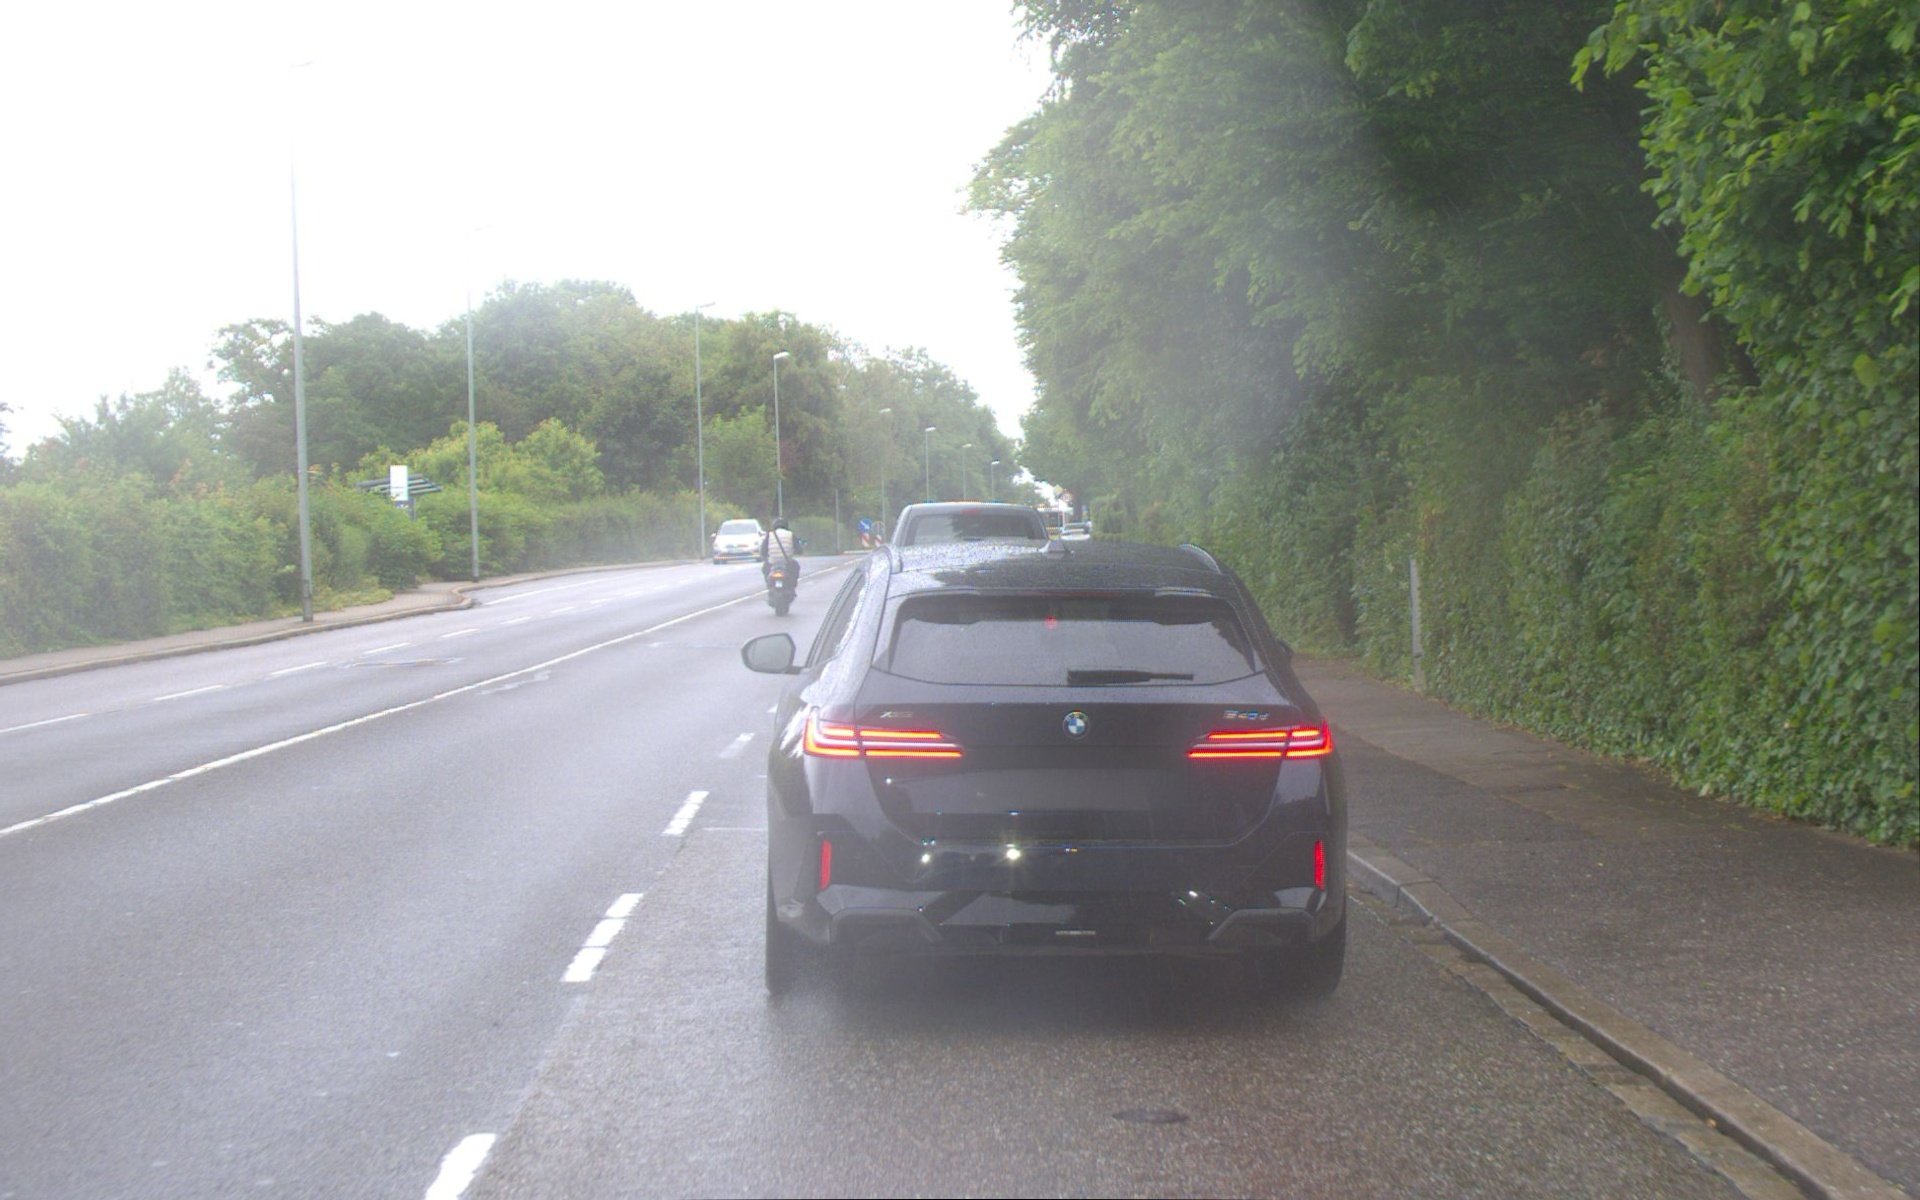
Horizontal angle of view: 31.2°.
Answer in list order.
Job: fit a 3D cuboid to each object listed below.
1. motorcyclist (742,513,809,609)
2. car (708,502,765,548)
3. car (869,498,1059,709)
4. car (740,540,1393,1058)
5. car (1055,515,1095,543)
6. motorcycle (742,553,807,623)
[{"bbox_3d":[-3.057,-0.648,57.115,1.039,1.562,0.855,1,0,1],"label":"motorcyclist"},{"bbox_3d":[-8.116,-2.736,125.219,1.756,1.563,4.000,-3,1,0],"label":"car"},{"bbox_3d":[0.073,-0.018,32.533,1.629,1.827,4.000,-2,1,1],"label":"car"},{"bbox_3d":[0.385,0.547,12.104,1.897,1.484,4.000,1,1,2],"label":"car"},{"bbox_3d":[6.178,-3.818,184.168,1.935,1.437,4.407,-1,1,4],"label":"car"},{"bbox_3d":[-3.072,-0.206,57.160,0.876,1.120,2.741,1,1,1],"label":"motorcycle"}]
